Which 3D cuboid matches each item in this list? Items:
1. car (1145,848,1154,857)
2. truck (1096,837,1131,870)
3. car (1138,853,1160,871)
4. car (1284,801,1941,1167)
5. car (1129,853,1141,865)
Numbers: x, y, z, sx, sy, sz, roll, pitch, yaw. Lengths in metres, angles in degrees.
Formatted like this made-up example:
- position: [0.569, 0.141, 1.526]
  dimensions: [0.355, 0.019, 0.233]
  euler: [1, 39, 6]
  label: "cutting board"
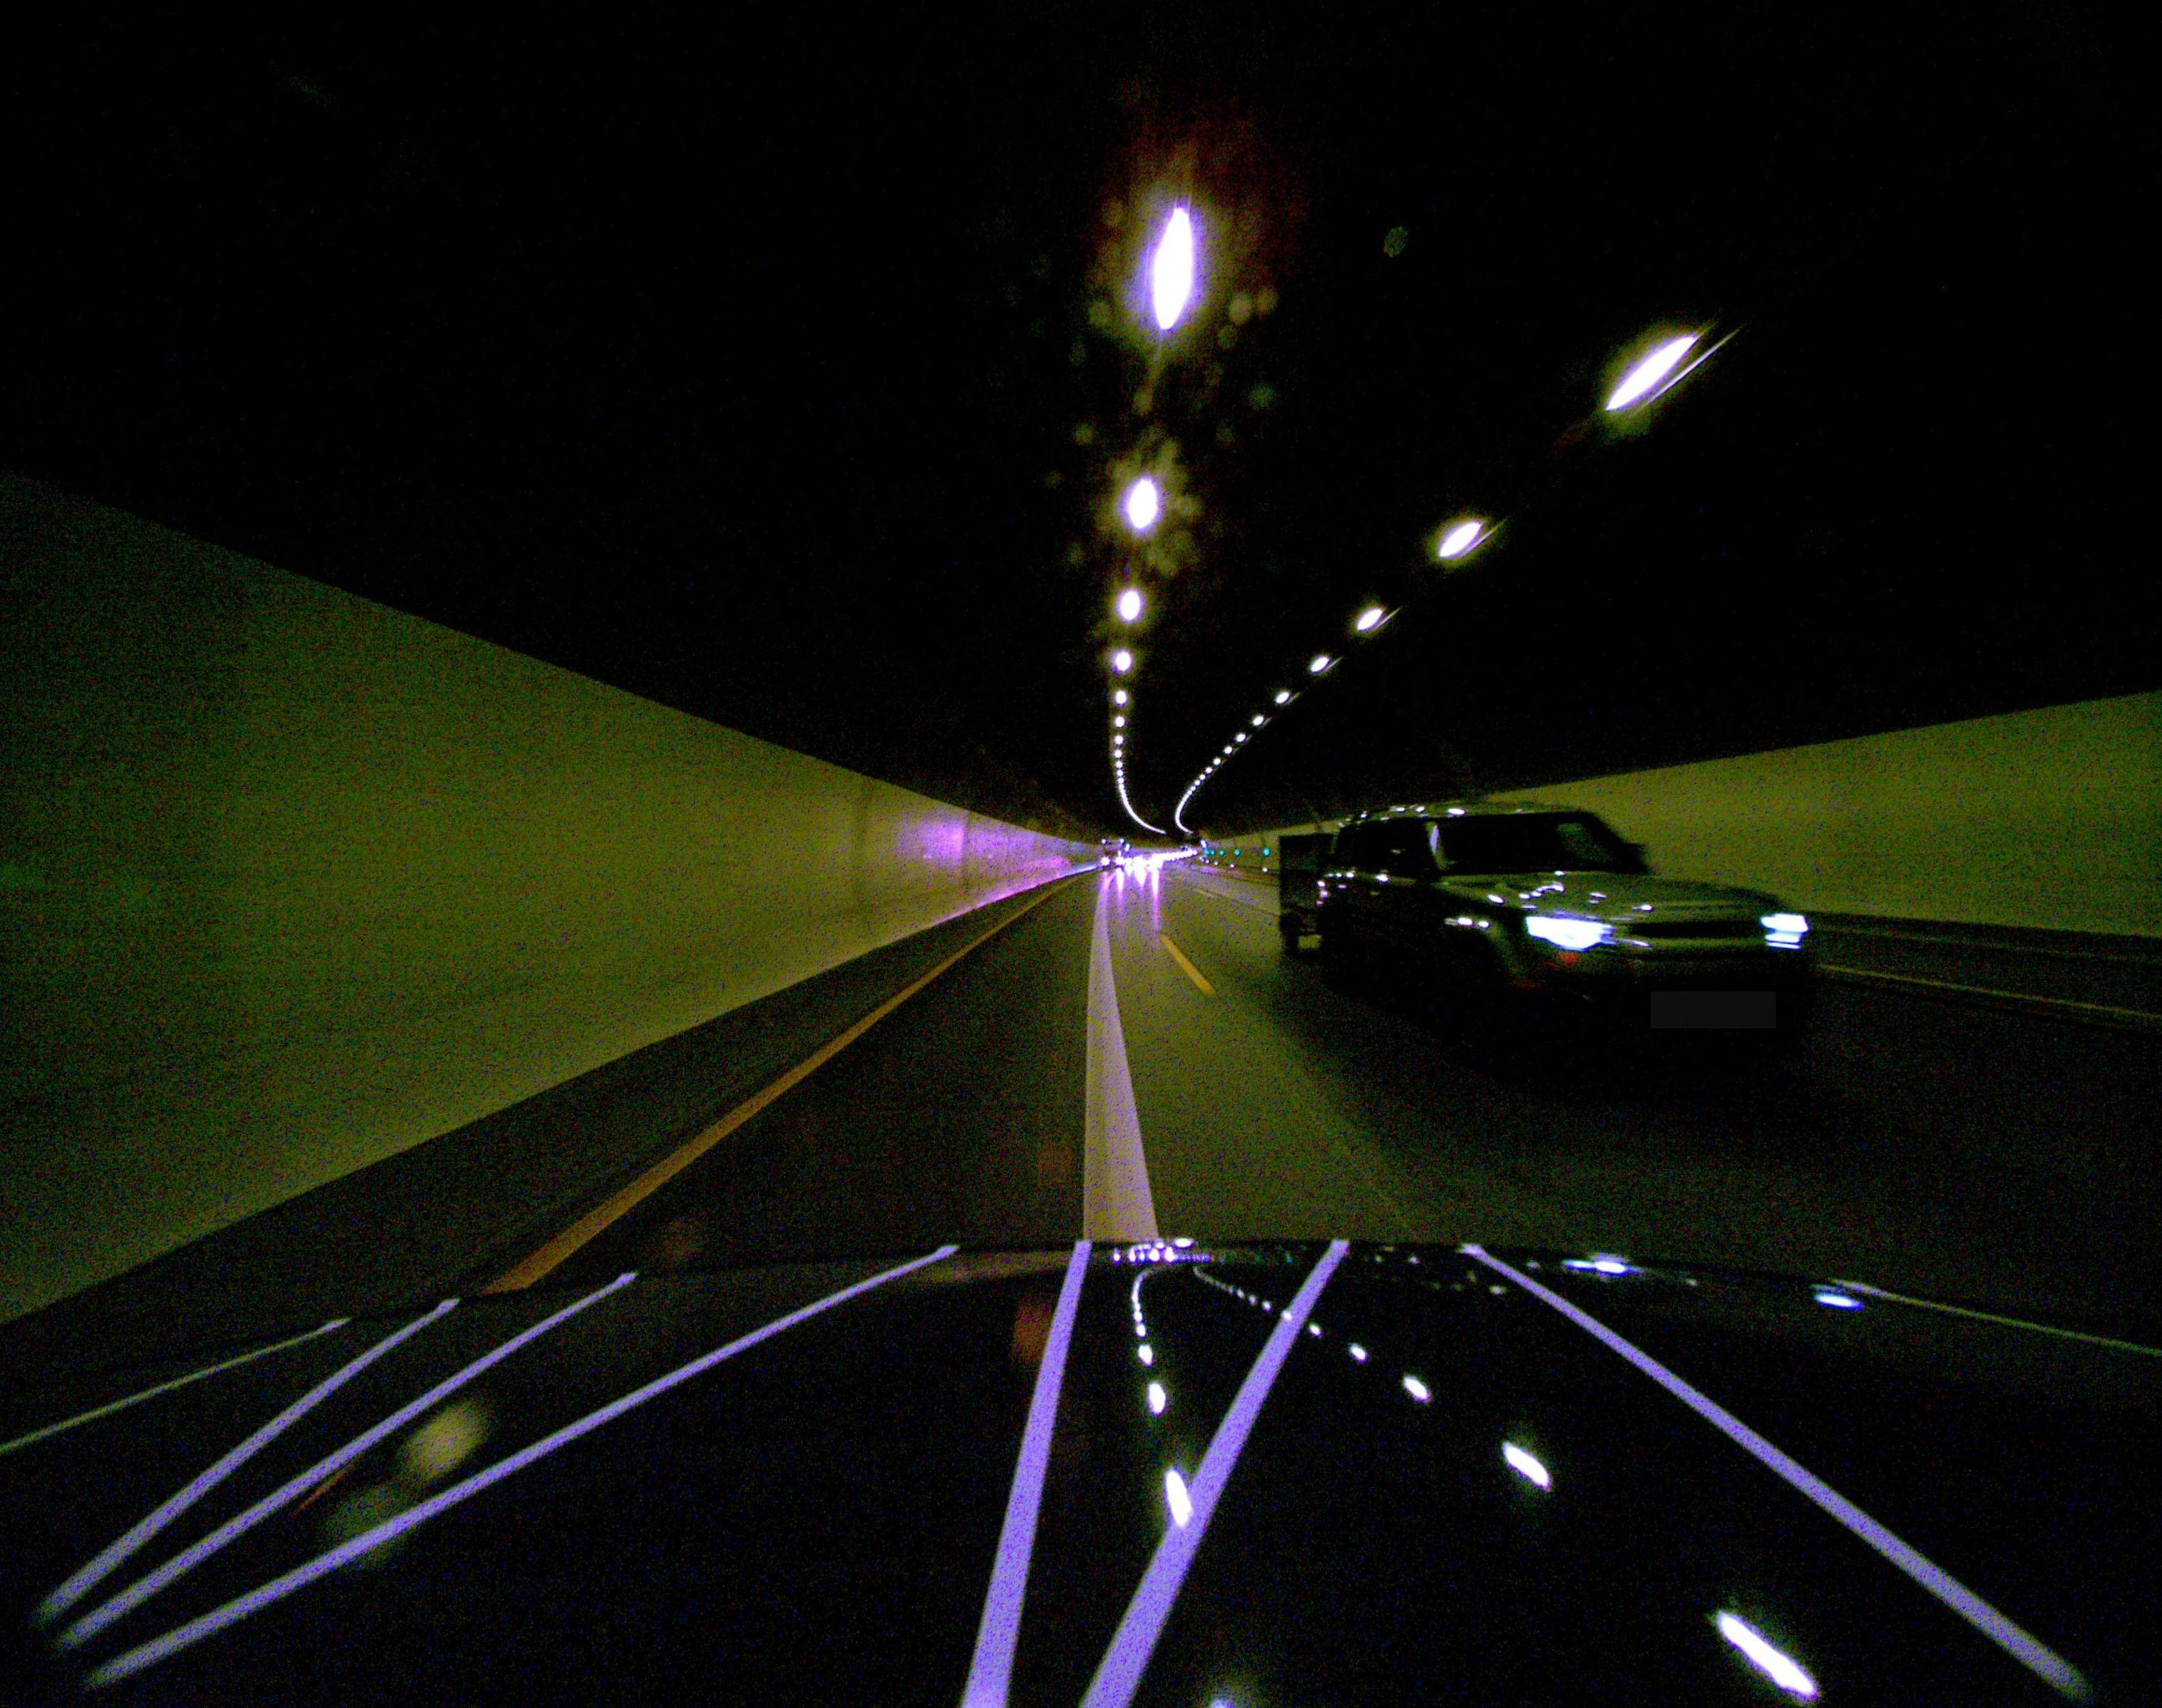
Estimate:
- position: [15.869, -0.339, 176.649]
  dimensions: [1.998, 1.917, 4.387]
  euler: [-2, 0, 6]
  label: "car"
- position: [3.608, -0.053, 80.714]
  dimensions: [2.987, 3.161, 10.513]
  euler: [-2, 0, 6]
  label: "truck"
- position: [7.244, 0.839, 80.179]
  dimensions: [2.170, 1.709, 4.483]
  euler: [-2, 0, 6]
  label: "car"
- position: [3.480, 0.667, 6.665]
  dimensions: [1.998, 1.884, 5.453]
  euler: [-1, 0, 1]
  label: "car"
- position: [9.281, 0.854, 130.085]
  dimensions: [1.998, 2.002, 4.002]
  euler: [-2, 0, 6]
  label: "car"
